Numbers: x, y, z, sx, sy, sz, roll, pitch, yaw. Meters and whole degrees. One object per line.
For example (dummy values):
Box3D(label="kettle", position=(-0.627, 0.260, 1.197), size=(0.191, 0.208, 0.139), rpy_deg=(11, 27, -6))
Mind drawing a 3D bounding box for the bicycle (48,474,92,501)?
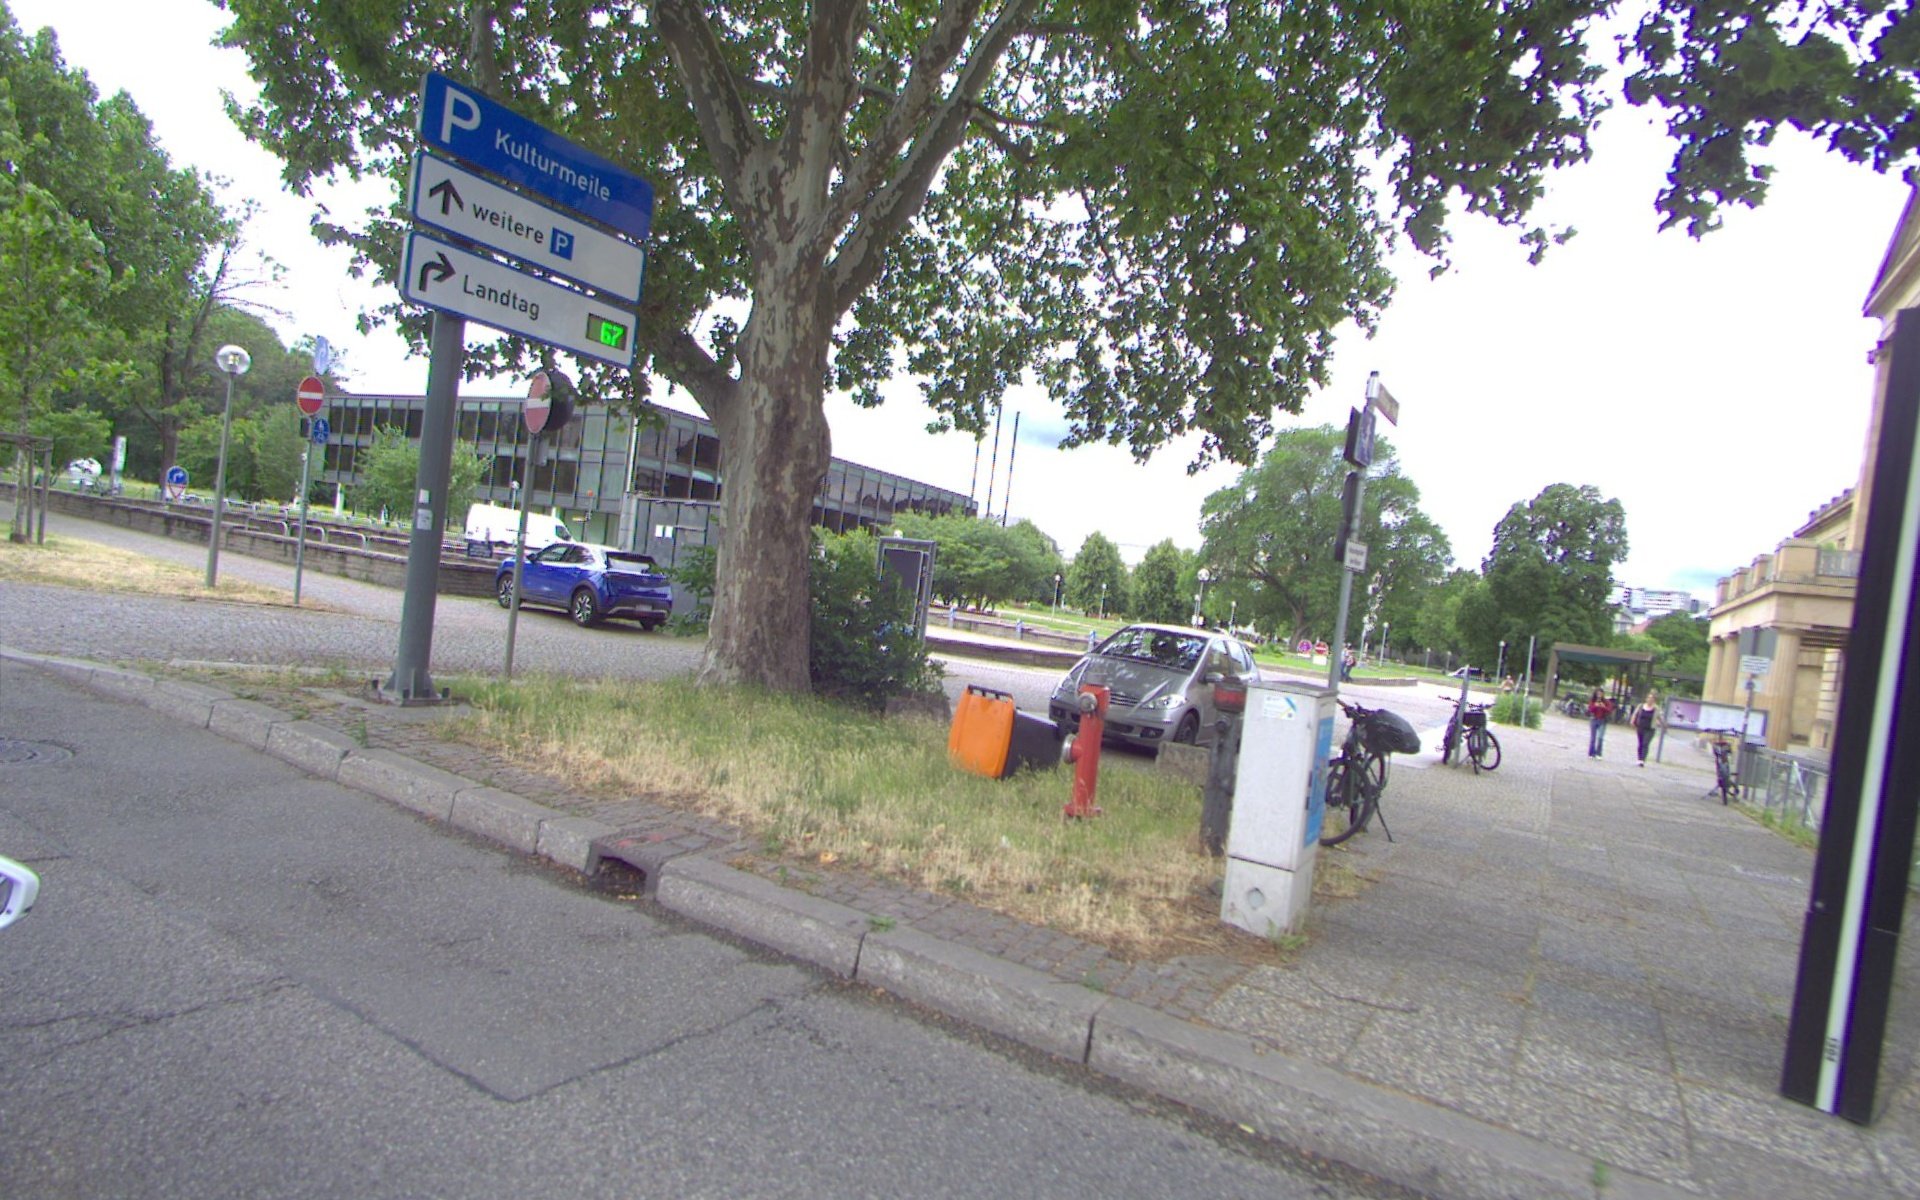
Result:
Box3D(label="bicycle", position=(-44.486, -5.618, 50.277), size=(2.297, 1.076, 0.956), rpy_deg=(7, -1, 31))

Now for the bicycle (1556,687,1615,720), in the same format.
Box3D(label="bicycle", position=(33.383, 5.512, 53.710), size=(2.536, 1.360, 0.726), rpy_deg=(7, -1, 32))

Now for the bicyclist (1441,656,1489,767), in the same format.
Box3D(label="bicyclist", position=(8.419, 1.853, 16.788), size=(0.466, 1.770, 0.437), rpy_deg=(8, 2, 24))

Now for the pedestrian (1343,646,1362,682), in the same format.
Box3D(label="pedestrian", position=(19.085, 3.120, 48.953), size=(0.537, 1.683, 0.500), rpy_deg=(8, -1, 4))

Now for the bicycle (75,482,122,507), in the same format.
Box3D(label="bicycle", position=(-44.012, -5.385, 51.373), size=(2.741, 0.986, 0.956), rpy_deg=(7, -2, 31))

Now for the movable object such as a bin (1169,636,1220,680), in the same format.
Box3D(label="movable object such as a bin", position=(8.062, 1.998, 34.513), size=(1.134, 1.320, 1.409), rpy_deg=(8, 1, 34))

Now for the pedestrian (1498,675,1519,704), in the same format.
Box3D(label="pedestrian", position=(37.214, 6.075, 68.232), size=(0.929, 1.826, 0.546), rpy_deg=(8, -1, 4))

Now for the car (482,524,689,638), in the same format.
Box3D(label="car", position=(-7.455, -0.395, 19.915), size=(3.961, 1.571, 1.761), rpy_deg=(10, 2, 34))

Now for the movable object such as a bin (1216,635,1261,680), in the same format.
Box3D(label="movable object such as a bin", position=(10.627, 2.202, 38.373), size=(1.134, 1.516, 1.409), rpy_deg=(8, 1, 34))

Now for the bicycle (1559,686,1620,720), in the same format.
Box3D(label="bicycle", position=(32.628, 5.348, 52.157), size=(2.536, 1.360, 0.726), rpy_deg=(7, -1, 32))

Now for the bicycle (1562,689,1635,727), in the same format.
Box3D(label="bicycle", position=(31.687, 5.345, 50.008), size=(2.849, 1.442, 0.961), rpy_deg=(7, -1, 28))

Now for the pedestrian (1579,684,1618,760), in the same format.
Box3D(label="pedestrian", position=(15.172, 2.894, 23.918), size=(0.559, 1.716, 0.430), rpy_deg=(8, 2, 30))

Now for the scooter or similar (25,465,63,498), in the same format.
Box3D(label="scooter or similar", position=(-40.472, -5.230, 44.427), size=(2.190, 1.259, 0.636), rpy_deg=(7, -1, 34))

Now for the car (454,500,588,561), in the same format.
Box3D(label="car", position=(-23.414, -3.657, 53.965), size=(2.362, 2.288, 6.112), rpy_deg=(8, 0, 33))

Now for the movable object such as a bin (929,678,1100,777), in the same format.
Box3D(label="movable object such as a bin", position=(0.475, 1.058, 8.319), size=(0.718, 0.659, 1.299), rpy_deg=(6, -3, 40))

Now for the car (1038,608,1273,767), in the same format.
Box3D(label="car", position=(2.714, 1.113, 13.237), size=(1.651, 1.587, 3.841), rpy_deg=(8, 0, 31))

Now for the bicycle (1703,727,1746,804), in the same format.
Box3D(label="bicycle", position=(12.514, 2.678, 16.499), size=(0.420, 1.114, 2.166), rpy_deg=(8, -1, 37))

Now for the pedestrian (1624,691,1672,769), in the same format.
Box3D(label="pedestrian", position=(16.448, 3.090, 24.069), size=(0.693, 1.744, 0.680), rpy_deg=(8, 1, 30))

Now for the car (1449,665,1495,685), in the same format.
Box3D(label="car", position=(65.212, 9.514, 128.059), size=(4.835, 1.759, 2.074), rpy_deg=(7, -2, 35))

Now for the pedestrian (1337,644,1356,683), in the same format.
Box3D(label="pedestrian", position=(19.028, 3.111, 49.491), size=(0.537, 1.826, 0.500), rpy_deg=(8, -1, 4))

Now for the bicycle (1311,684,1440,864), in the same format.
Box3D(label="bicycle", position=(3.398, 1.337, 8.141), size=(0.484, 1.236, 1.786), rpy_deg=(8, 0, 34))

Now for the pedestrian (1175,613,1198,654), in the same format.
Box3D(label="pedestrian", position=(12.103, 1.789, 53.724), size=(0.799, 2.037, 0.625), rpy_deg=(8, -1, -39))

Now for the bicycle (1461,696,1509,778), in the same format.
Box3D(label="bicycle", position=(8.553, 2.199, 16.428), size=(0.435, 1.146, 1.754), rpy_deg=(8, 1, 24))
